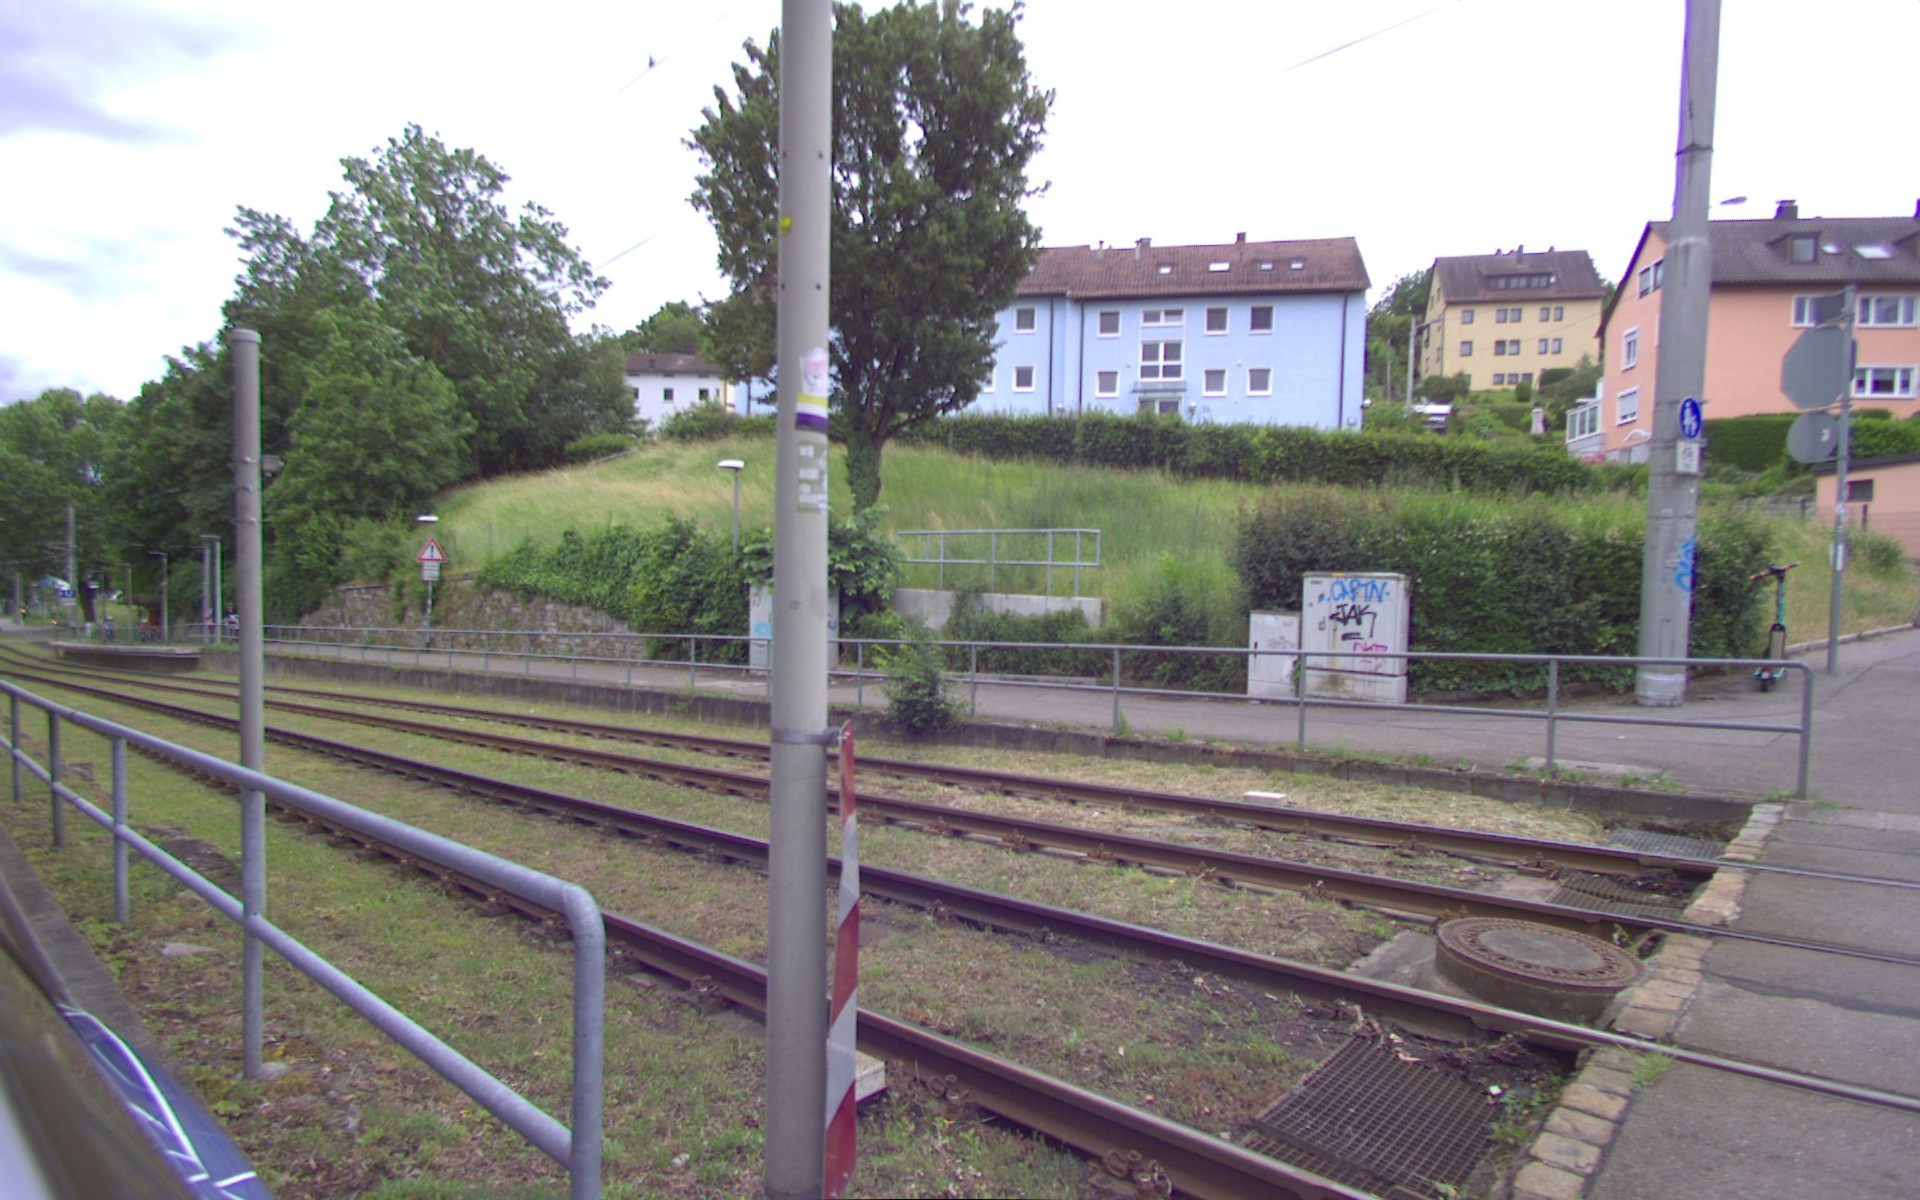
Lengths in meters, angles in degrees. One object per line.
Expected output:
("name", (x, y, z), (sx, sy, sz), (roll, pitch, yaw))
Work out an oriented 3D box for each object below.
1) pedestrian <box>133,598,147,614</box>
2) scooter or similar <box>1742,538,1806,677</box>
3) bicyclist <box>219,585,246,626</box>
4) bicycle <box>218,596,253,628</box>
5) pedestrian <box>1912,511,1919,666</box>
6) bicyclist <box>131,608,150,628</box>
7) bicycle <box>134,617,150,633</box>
("pedestrian", (-86.909, 0.636, 107.294), (1.101, 1.747, 0.695), (-1, 1, -42))
("scooter or similar", (8.466, 0.046, 10.507), (0.418, 1.298, 1.394), (-1, 4, 42))
("bicyclist", (-30.559, 0.232, 42.504), (0.696, 1.641, 1.033), (-3, 0, -45))
("bicycle", (-30.121, 0.517, 42.056), (0.742, 1.249, 2.868), (-3, 0, -44))
("pedestrian", (10.319, -0.126, 10.305), (0.741, 1.586, 0.759), (-1, 0, -35))
("bicyclist", (-44.439, 0.986, 54.874), (0.744, 1.061, 0.682), (-3, -1, 42))
("bicycle", (-44.303, 1.363, 54.789), (1.564, 0.787, 0.445), (-3, -1, 43))
